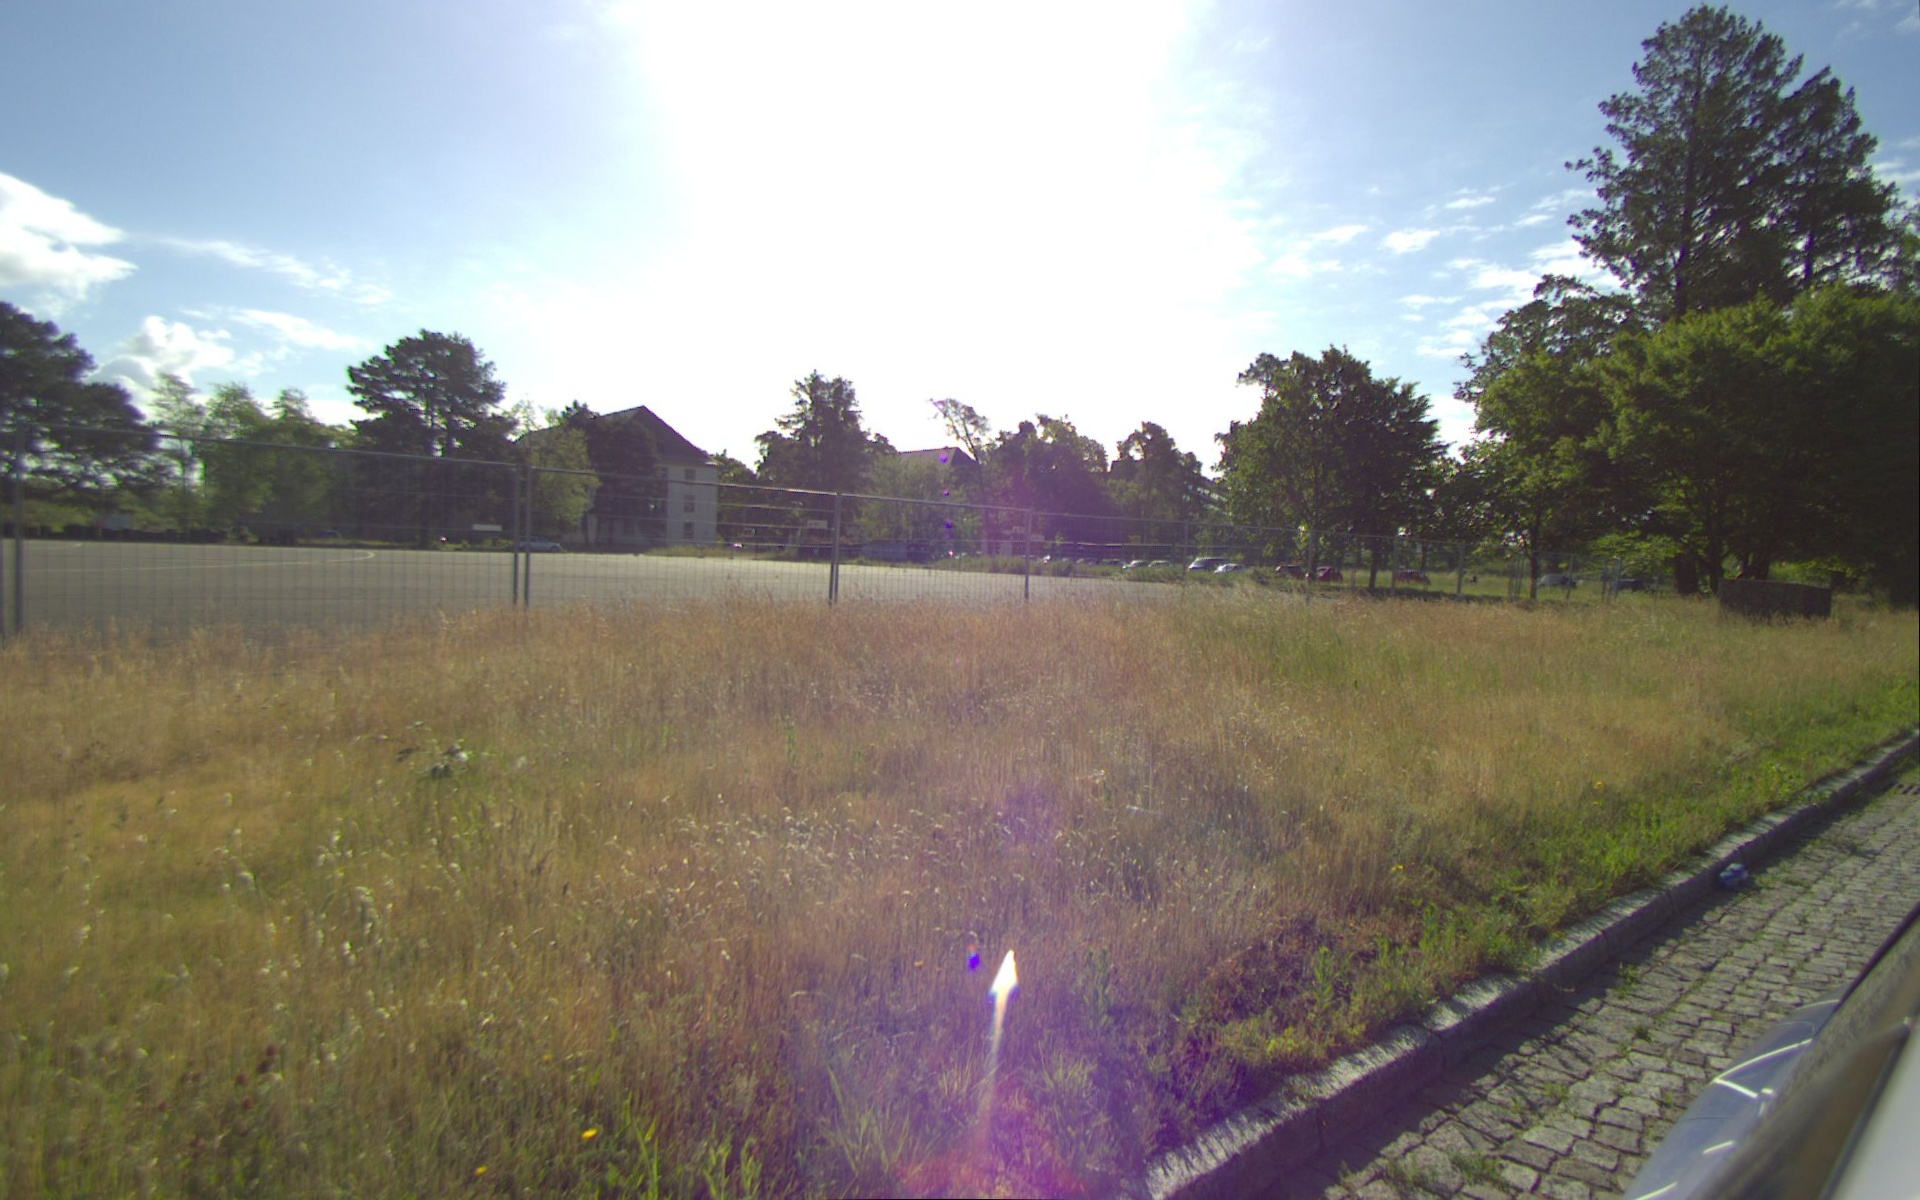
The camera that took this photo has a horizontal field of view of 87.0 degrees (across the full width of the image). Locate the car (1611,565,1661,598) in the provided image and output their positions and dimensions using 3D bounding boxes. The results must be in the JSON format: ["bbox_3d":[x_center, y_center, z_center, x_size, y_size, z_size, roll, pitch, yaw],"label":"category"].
[{"bbox_3d":[44.184,-1.192,66.118,1.994,2.038,3.938,4,3,43],"label":"car"}]

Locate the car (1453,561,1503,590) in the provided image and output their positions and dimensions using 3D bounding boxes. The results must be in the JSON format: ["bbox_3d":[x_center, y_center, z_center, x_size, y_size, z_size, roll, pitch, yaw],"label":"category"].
[{"bbox_3d":[38.255,-1.785,74.691,3.932,2.038,1.997,0,3,-43],"label":"car"}]

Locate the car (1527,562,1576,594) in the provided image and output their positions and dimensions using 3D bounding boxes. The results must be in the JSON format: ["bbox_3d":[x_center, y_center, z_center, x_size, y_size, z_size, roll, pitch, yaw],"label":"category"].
[{"bbox_3d":[41.081,-1.528,70.264,1.994,2.038,3.938,4,3,43],"label":"car"}]

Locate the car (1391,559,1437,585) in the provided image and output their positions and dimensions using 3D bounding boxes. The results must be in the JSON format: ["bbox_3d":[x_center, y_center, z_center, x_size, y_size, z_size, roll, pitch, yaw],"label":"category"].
[{"bbox_3d":[35.032,-2.149,78.027,1.994,1.838,3.938,4,4,43],"label":"car"}]

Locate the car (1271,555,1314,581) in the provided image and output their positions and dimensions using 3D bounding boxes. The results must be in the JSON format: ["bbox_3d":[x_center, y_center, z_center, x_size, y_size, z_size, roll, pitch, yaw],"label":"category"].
[{"bbox_3d":[28.255,-2.701,85.925,1.993,2.038,3.940,4,3,41],"label":"car"}]

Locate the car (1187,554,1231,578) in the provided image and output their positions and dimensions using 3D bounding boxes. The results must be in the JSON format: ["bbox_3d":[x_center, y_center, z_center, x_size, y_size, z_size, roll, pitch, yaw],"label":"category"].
[{"bbox_3d":[22.756,-3.134,92.517,3.932,2.038,1.997,-1,4,-43],"label":"car"}]

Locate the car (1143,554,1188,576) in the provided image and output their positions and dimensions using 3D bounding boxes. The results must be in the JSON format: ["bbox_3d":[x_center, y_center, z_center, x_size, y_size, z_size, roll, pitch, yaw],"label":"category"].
[{"bbox_3d":[19.710,-3.362,96.924,3.923,2.039,2.001,-1,1,-33],"label":"car"}]

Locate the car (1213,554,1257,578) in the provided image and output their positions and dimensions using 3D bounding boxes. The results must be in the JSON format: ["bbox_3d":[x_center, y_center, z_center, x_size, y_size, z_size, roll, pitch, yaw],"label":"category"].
[{"bbox_3d":[24.715,-3.065,90.957,3.932,1.971,1.997,-1,4,-43],"label":"car"}]

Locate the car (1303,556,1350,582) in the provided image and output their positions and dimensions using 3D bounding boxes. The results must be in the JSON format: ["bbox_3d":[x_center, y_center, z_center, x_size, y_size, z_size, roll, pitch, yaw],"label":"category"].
[{"bbox_3d":[30.364,-2.546,83.846,3.931,2.038,1.997,0,3,-42],"label":"car"}]
